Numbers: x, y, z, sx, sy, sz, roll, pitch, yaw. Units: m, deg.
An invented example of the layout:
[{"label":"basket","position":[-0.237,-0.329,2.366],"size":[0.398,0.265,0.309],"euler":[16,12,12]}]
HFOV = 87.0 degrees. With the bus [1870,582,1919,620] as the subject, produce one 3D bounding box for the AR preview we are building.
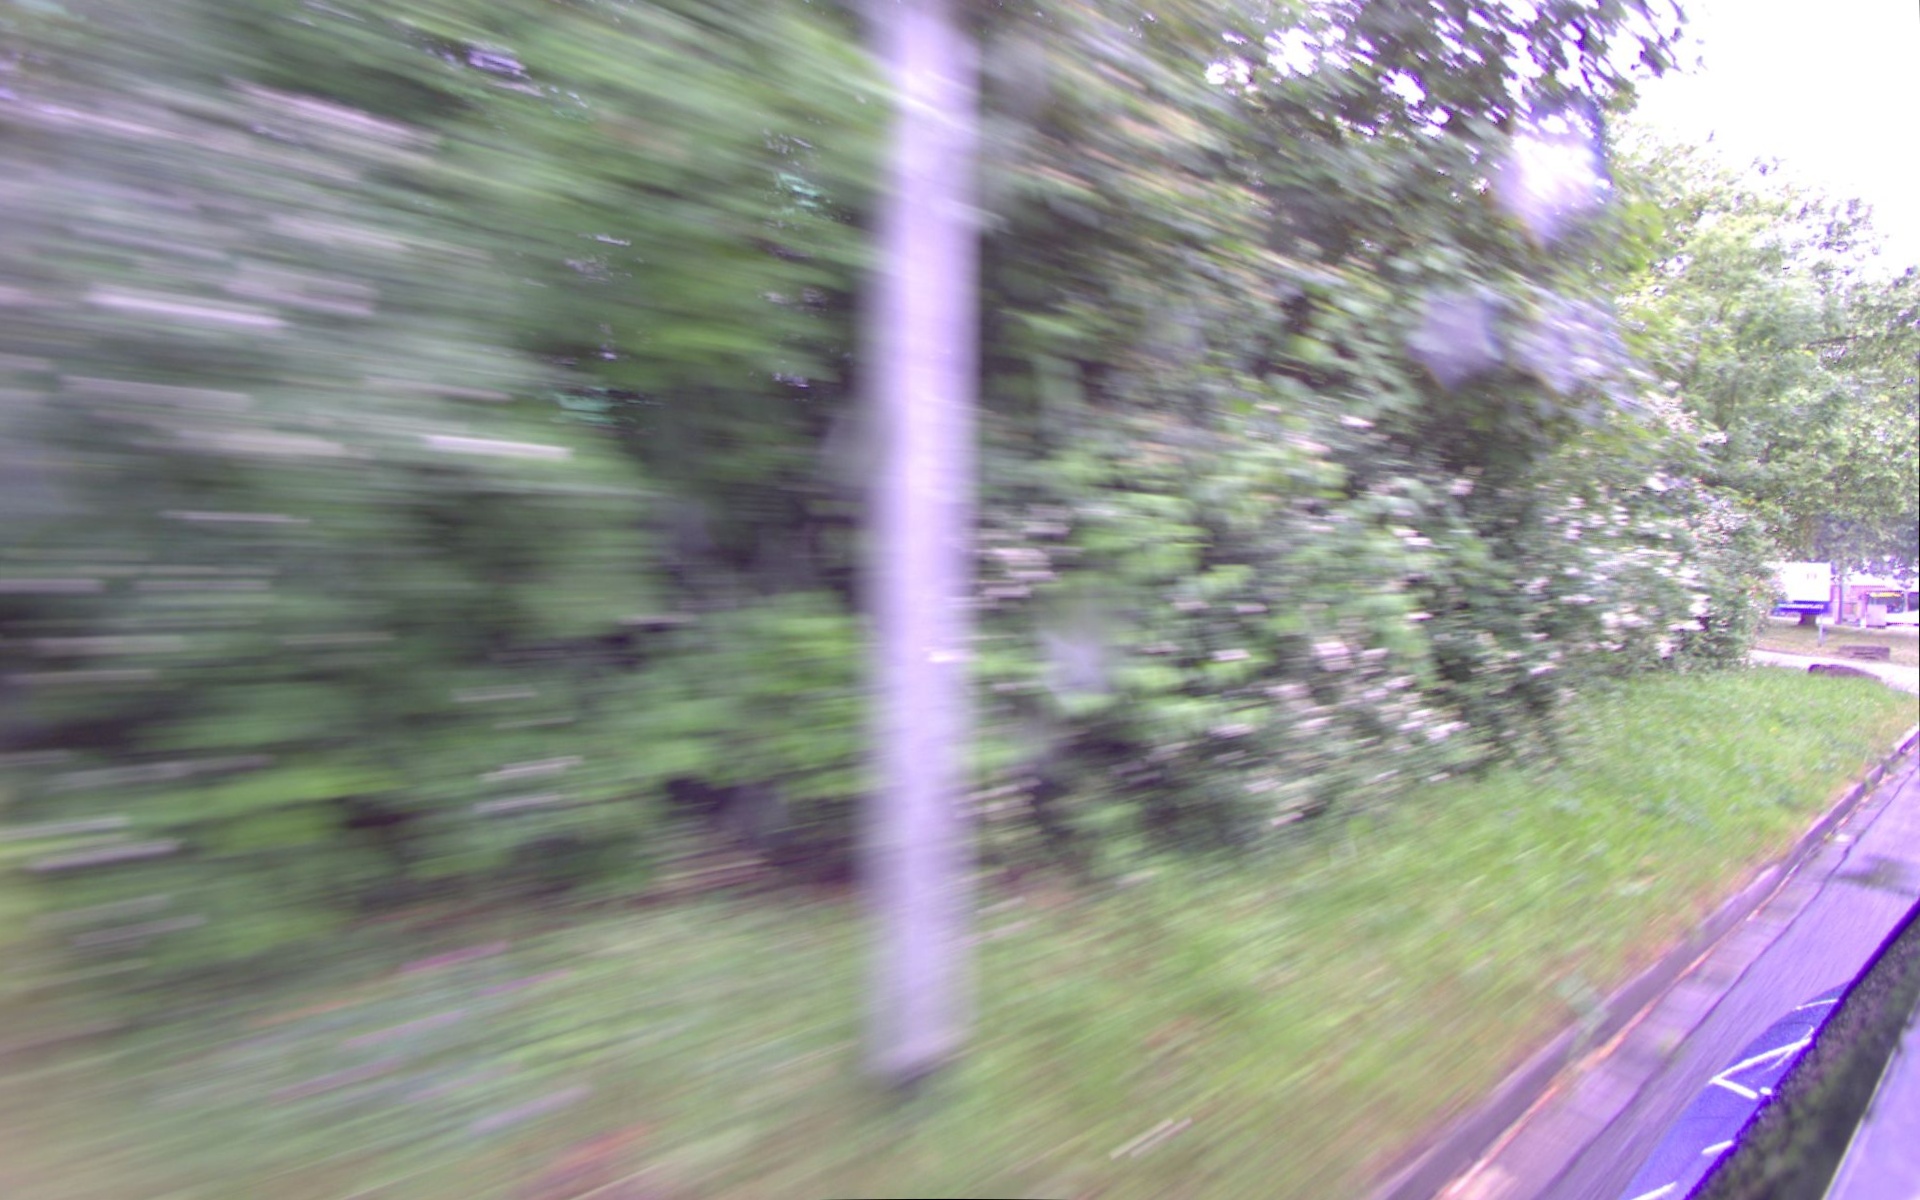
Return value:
[{"label":"bus","position":[75.221,0.024,78.225],"size":[10.169,2.822,2.905],"euler":[-1,-1,-21]}]
